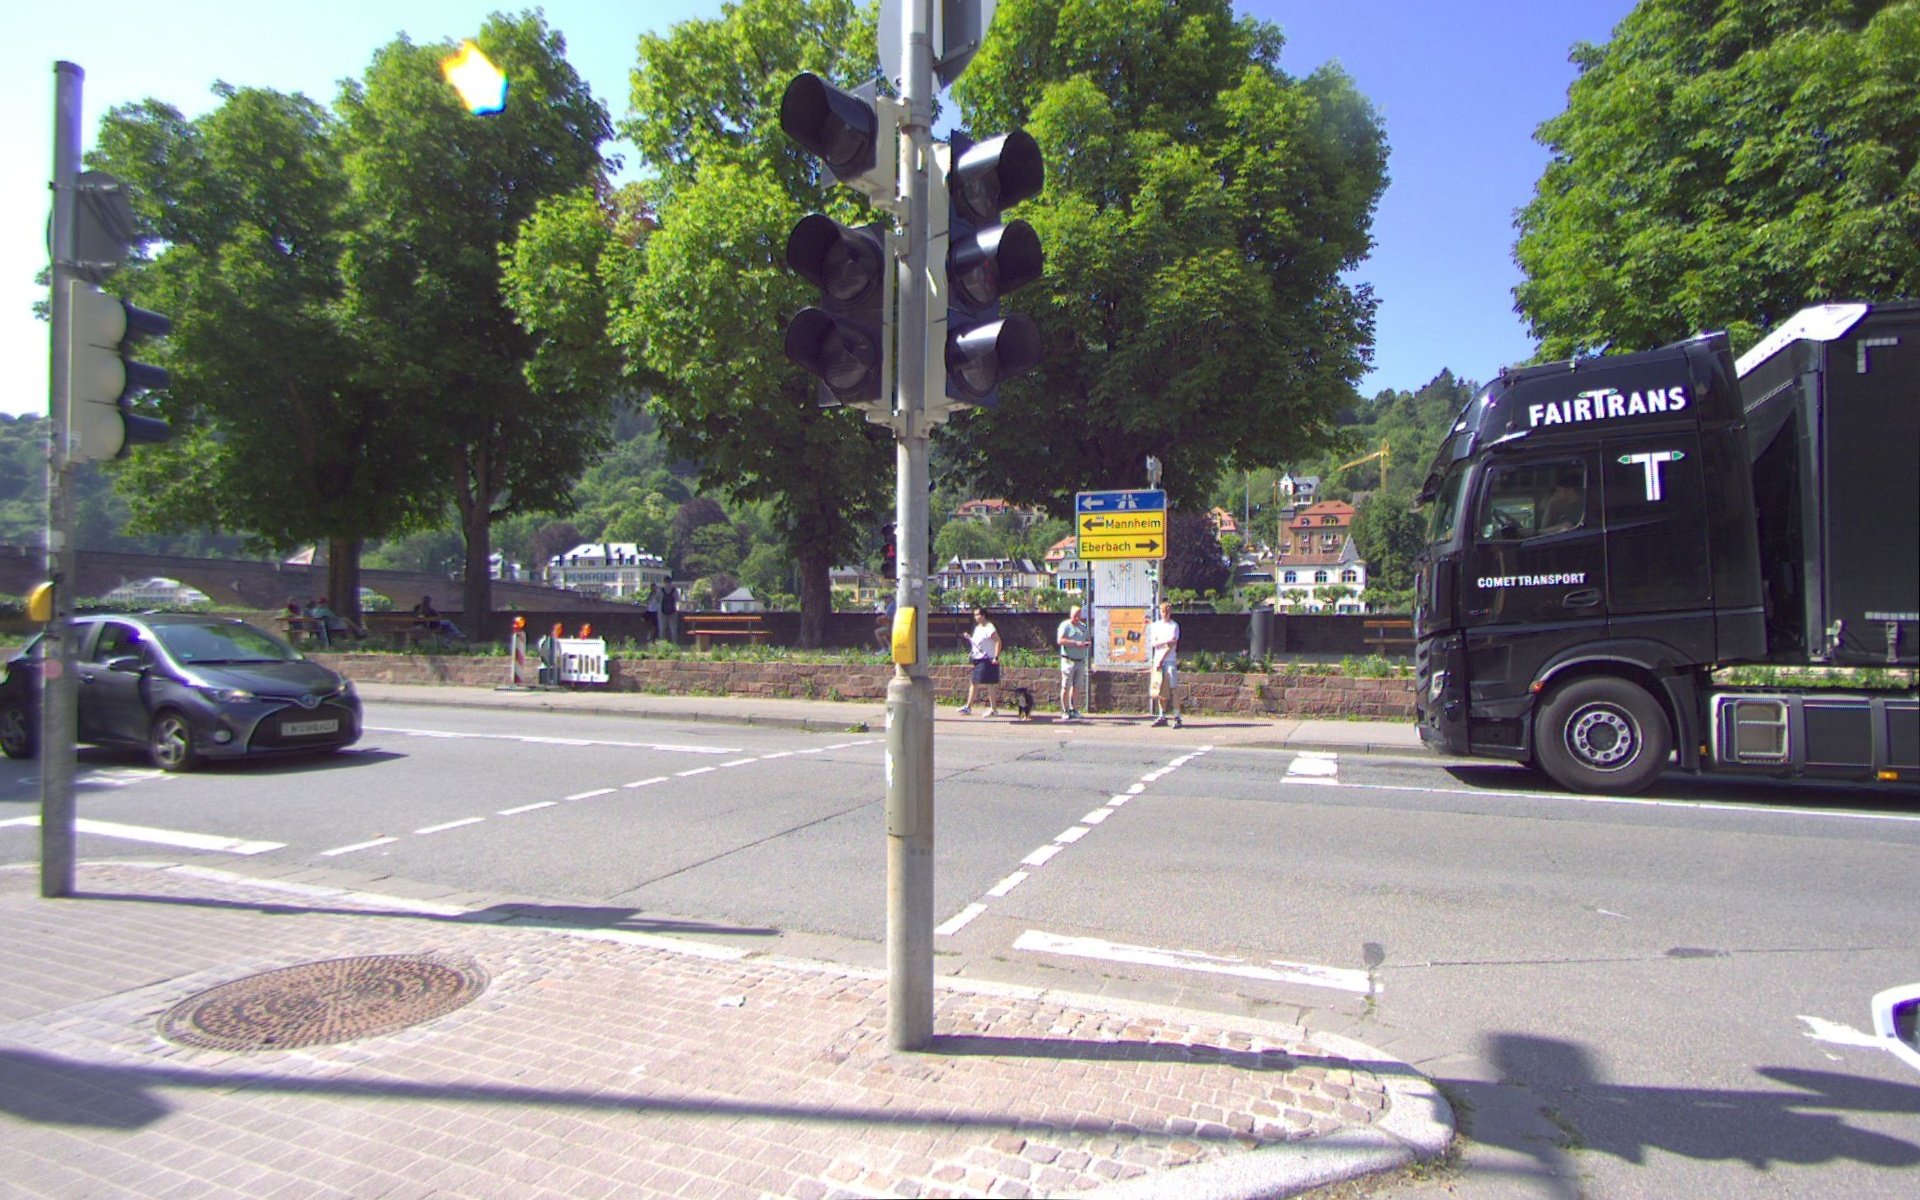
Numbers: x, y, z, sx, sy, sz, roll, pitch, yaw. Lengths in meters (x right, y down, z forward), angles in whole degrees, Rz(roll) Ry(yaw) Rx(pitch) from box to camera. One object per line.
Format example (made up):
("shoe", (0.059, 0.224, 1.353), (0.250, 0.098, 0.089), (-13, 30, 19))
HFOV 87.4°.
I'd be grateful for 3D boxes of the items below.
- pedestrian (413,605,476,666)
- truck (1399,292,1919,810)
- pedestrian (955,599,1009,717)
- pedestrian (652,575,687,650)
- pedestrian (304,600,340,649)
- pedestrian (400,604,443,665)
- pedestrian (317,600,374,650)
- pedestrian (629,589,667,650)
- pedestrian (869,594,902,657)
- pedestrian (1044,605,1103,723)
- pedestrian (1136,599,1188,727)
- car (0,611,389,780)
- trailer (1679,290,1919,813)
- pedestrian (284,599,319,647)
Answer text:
("pedestrian", (-13.017, 0.893, 25.396), (0.460, 1.499, 1.384), (0, -2, 25))
("truck", (7.439, -0.316, 9.562), (5.816, 4.124, 2.840), (0, -3, 21))
("pedestrian", (0.358, 0.897, 15.971), (0.709, 1.826, 0.634), (1, 0, 17))
("pedestrian", (-7.474, 0.343, 25.820), (0.754, 1.882, 0.753), (2, -2, -22))
("pedestrian", (-17.054, 0.652, 26.840), (0.460, 1.287, 0.631), (0, -2, 26))
("pedestrian", (-13.608, 0.864, 25.395), (0.460, 1.512, 0.804), (0, -2, 25))
("pedestrian", (-16.435, 0.677, 26.896), (0.460, 1.287, 1.223), (0, -2, 25))
("pedestrian", (-9.082, 0.574, 29.235), (0.696, 1.754, 0.757), (1, -2, 17))
("pedestrian", (-1.517, 0.526, 20.479), (0.630, 1.244, 0.414), (-1, -3, 1))
("pedestrian", (1.766, 0.989, 15.685), (0.705, 1.793, 0.688), (1, -2, -15))
("pedestrian", (2.969, 0.917, 14.754), (0.691, 1.825, 0.580), (0, -2, 16))
("car", (-8.225, 0.907, 10.640), (3.805, 1.518, 1.728), (0, -2, 21))
("trailer", (13.644, -0.346, 7.138), (13.503, 4.157, 2.843), (0, -3, 21))
("pedestrian", (-17.839, 0.632, 27.214), (0.460, 1.287, 0.631), (0, -2, 26))
